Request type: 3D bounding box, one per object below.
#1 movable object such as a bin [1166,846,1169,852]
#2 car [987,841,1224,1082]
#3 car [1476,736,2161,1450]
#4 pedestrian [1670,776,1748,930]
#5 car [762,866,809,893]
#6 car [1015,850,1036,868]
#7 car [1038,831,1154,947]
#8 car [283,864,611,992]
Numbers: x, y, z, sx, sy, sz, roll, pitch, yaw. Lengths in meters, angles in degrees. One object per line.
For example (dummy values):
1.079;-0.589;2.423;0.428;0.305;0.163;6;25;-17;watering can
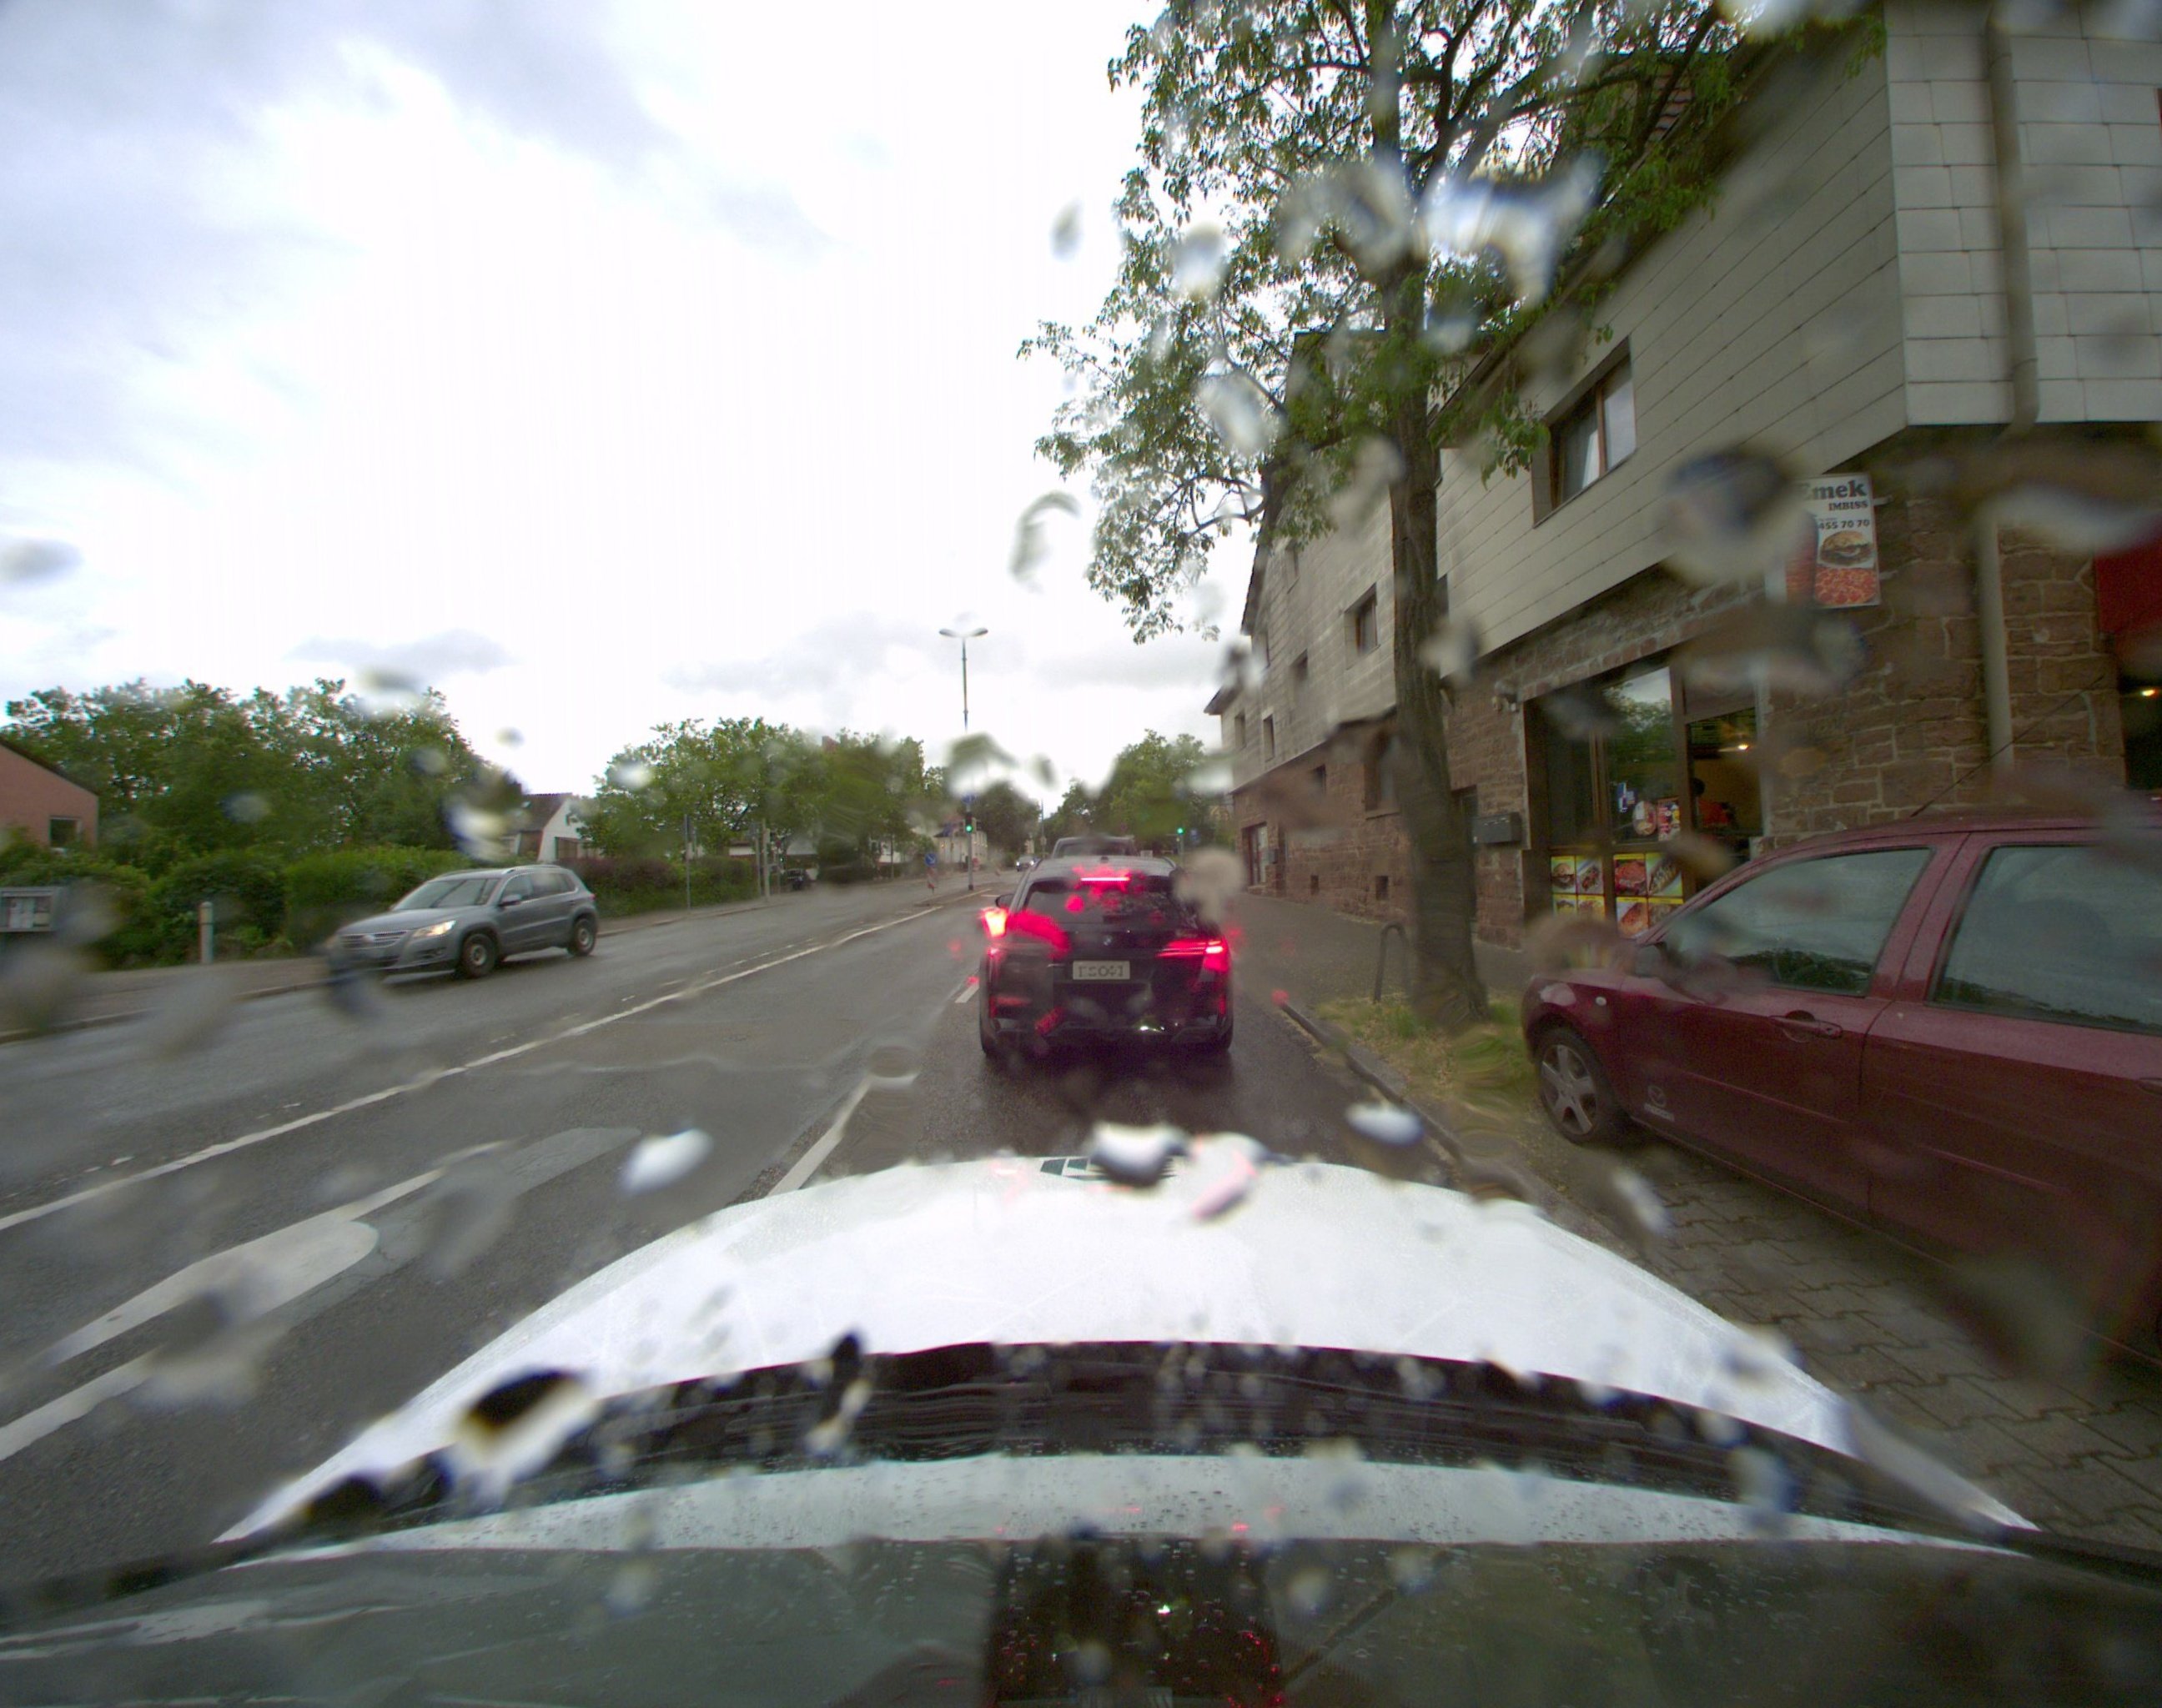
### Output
12.237;-0.718;115.208;0.446;0.906;0.465;-1;-1;17;movable object such as a bin
0.129;0.706;7.029;1.519;1.534;3.530;0;-1;-1;car
3.058;0.532;2.697;1.606;1.504;3.754;0;-2;-1;car
6.949;-0.014;9.028;0.490;1.660;0.455;0;-1;1;pedestrian
-20.973;1.771;57.932;1.803;1.551;4.001;0;3;0;car
-5.565;0.488;81.898;1.893;1.577;4.500;-2;1;-1;car
0.205;0.559;14.618;1.807;1.809;3.754;0;-1;-1;car
-9.811;1.024;13.172;1.903;1.590;4.315;-3;0;-1;car
